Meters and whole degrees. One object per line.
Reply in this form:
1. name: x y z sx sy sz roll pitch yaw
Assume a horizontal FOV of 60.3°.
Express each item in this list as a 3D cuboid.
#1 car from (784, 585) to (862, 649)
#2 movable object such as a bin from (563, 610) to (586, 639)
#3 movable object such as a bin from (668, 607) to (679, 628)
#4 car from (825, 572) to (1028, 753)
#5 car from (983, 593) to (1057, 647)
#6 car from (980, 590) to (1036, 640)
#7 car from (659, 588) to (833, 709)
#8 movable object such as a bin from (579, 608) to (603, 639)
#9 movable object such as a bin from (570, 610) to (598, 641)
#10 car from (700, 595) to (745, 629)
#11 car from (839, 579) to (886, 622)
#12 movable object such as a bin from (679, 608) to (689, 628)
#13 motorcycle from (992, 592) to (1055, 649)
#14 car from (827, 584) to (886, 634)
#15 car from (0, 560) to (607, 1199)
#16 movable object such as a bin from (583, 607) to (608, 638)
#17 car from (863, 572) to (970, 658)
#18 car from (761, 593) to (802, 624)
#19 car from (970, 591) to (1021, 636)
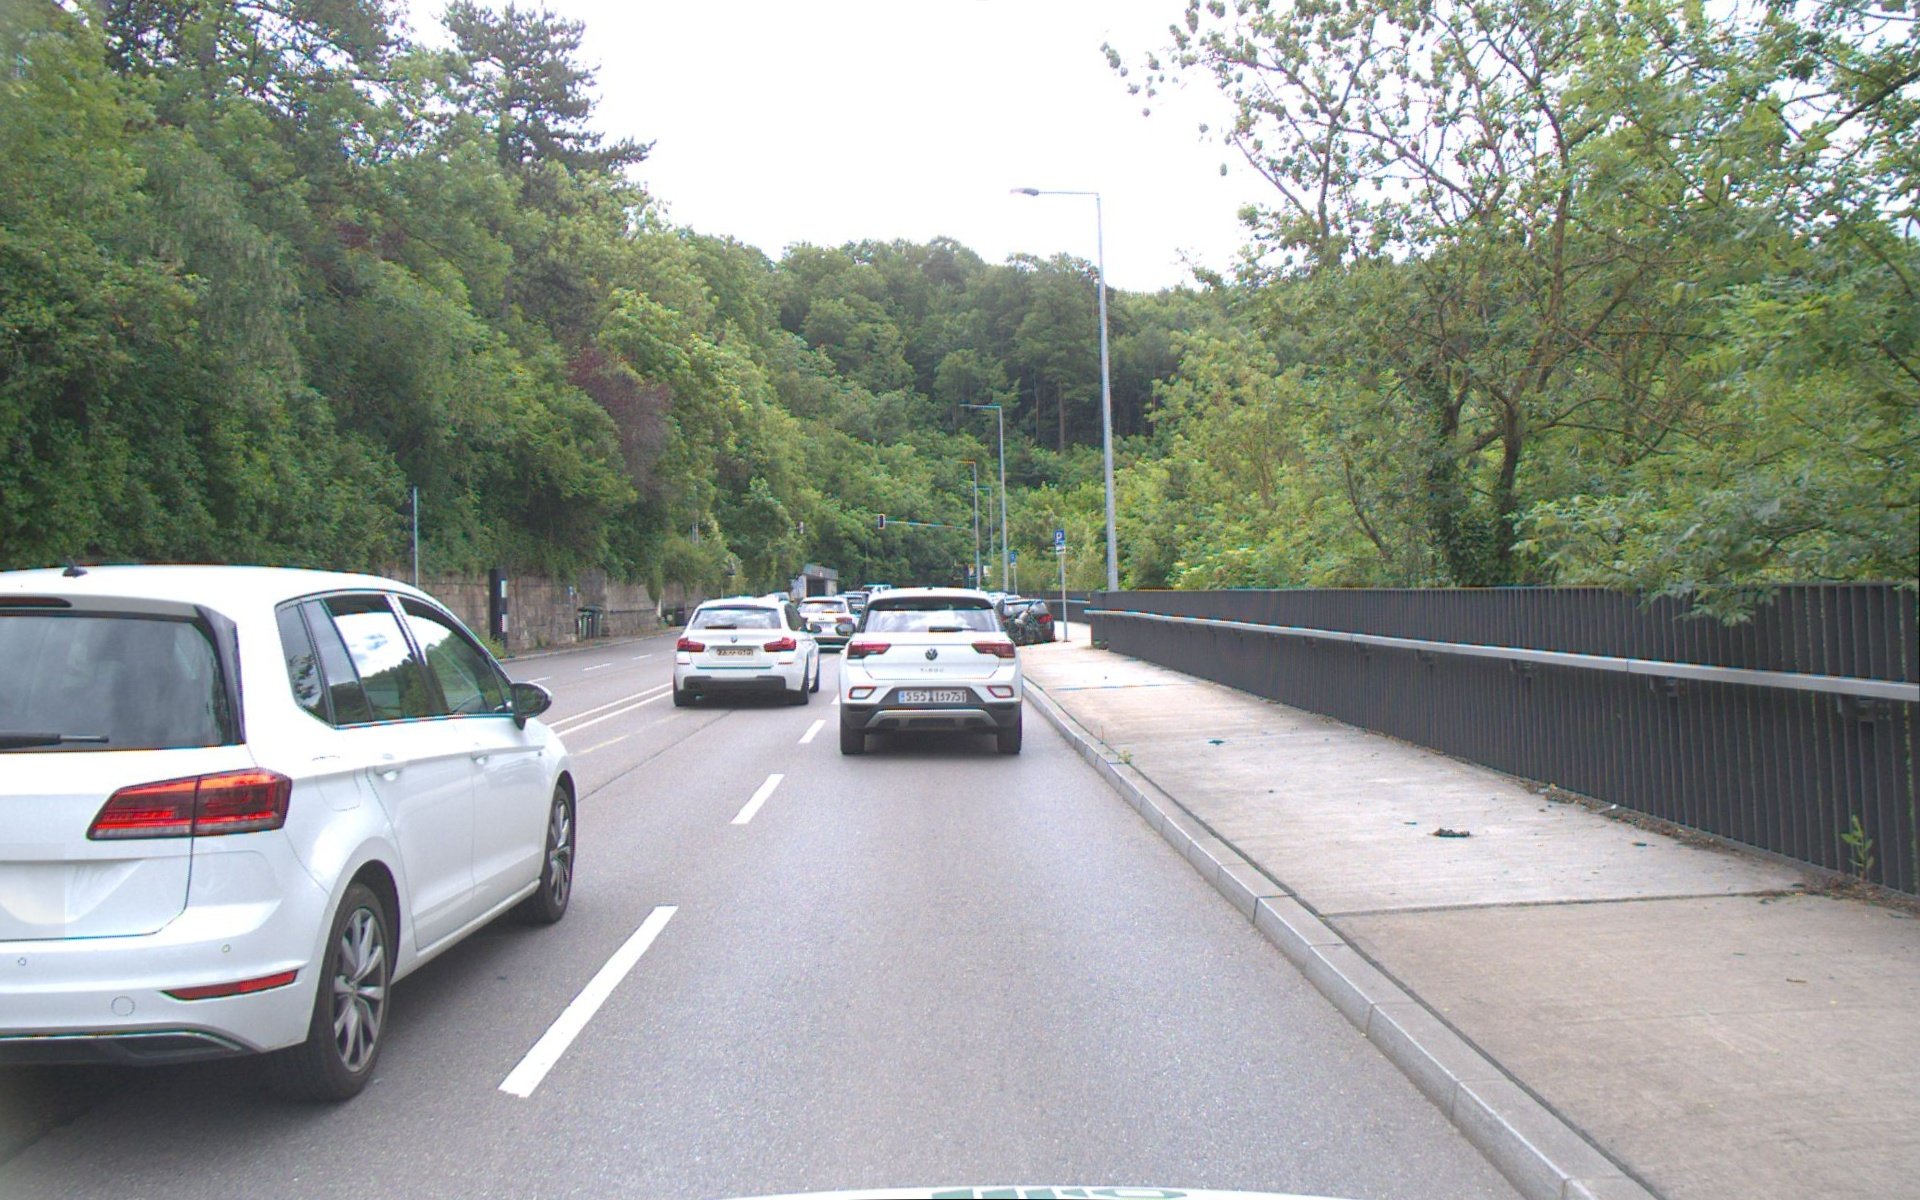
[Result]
1. car: -3.666 0.465 44.896 1.824 1.623 3.999 1 -1 -1
2. movable object such as a bin: -13.226 0.830 56.755 0.660 0.982 0.543 -1 0 -5
3. movable object such as a bin: -13.793 0.830 79.651 0.468 0.988 0.367 1 -1 -6
4. car: -0.269 0.554 16.862 1.776 1.566 4.009 -2 0 1
5. car: 1.735 0.565 49.078 1.787 1.425 4.317 -3 0 -3
6. car: 1.660 0.507 58.300 1.626 1.599 4.254 -4 0 -2
7. car: -2.986 0.627 24.079 1.953 1.585 4.680 0 0 0
8. movable object such as a bin: -13.108 0.838 58.762 0.757 1.080 0.717 -1 0 -5
9. movable object such as a bin: -13.185 0.884 57.999 0.881 1.052 0.620 -1 0 -5
10. car: -10.708 0.541 74.820 1.551 1.487 3.523 0 0 0
11. car: -4.379 0.026 74.714 1.953 1.897 3.999 0 0 -1
12. movable object such as a bin: -13.298 0.848 79.694 0.470 0.952 0.365 1 -1 -6
13. motorcycle: 1.745 0.538 44.959 0.754 1.493 2.502 0 0 27
14. car: -3.733 0.306 60.376 1.953 1.771 3.999 0 0 -1
15. car: -2.548 0.693 6.167 1.685 1.581 4.273 0 0 -2
16. movable object such as a bin: -13.102 0.805 59.501 0.772 1.089 0.708 -1 1 -5
17. car: -0.959 0.337 38.913 1.951 1.875 4.153 1 0 6
18. car: -10.068 0.470 93.592 1.778 1.727 4.469 0 0 0
19. car: 1.319 0.505 63.654 1.692 1.596 4.622 -2 0 -2
